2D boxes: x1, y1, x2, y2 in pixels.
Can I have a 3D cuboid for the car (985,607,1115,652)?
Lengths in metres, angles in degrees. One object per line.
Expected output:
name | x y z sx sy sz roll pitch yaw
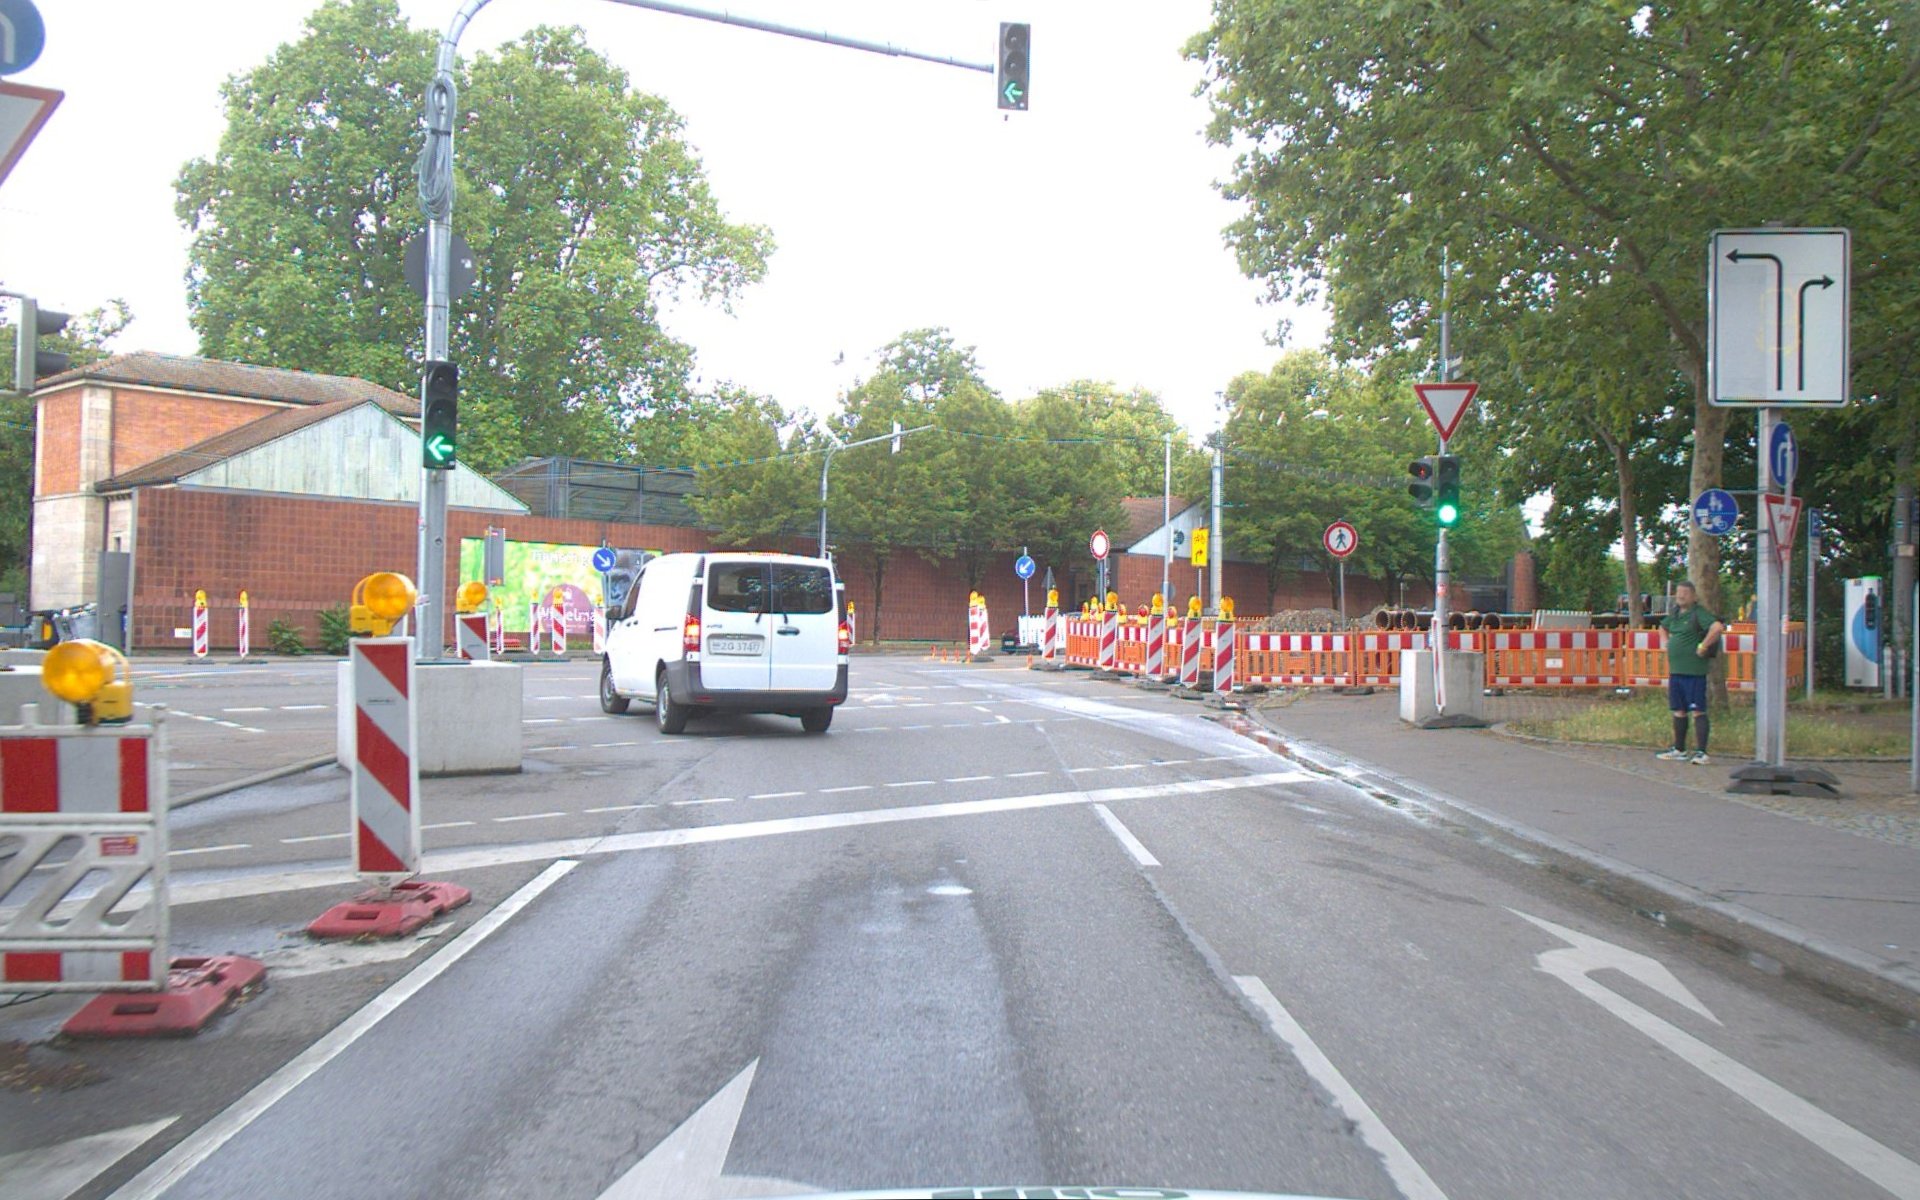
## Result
car | 3.156 1.048 57.406 4.412 1.468 1.854 2 -3 -38

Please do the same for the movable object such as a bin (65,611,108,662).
movable object such as a bin | -23.589 0.982 44.671 0.844 1.364 0.788 1 -2 -43

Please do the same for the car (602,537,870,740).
car | -2.711 0.444 18.985 1.890 1.935 4.670 5 -3 -21

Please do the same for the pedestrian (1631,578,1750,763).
pedestrian | 7.042 0.654 15.974 0.717 1.727 0.836 0 0 -9
